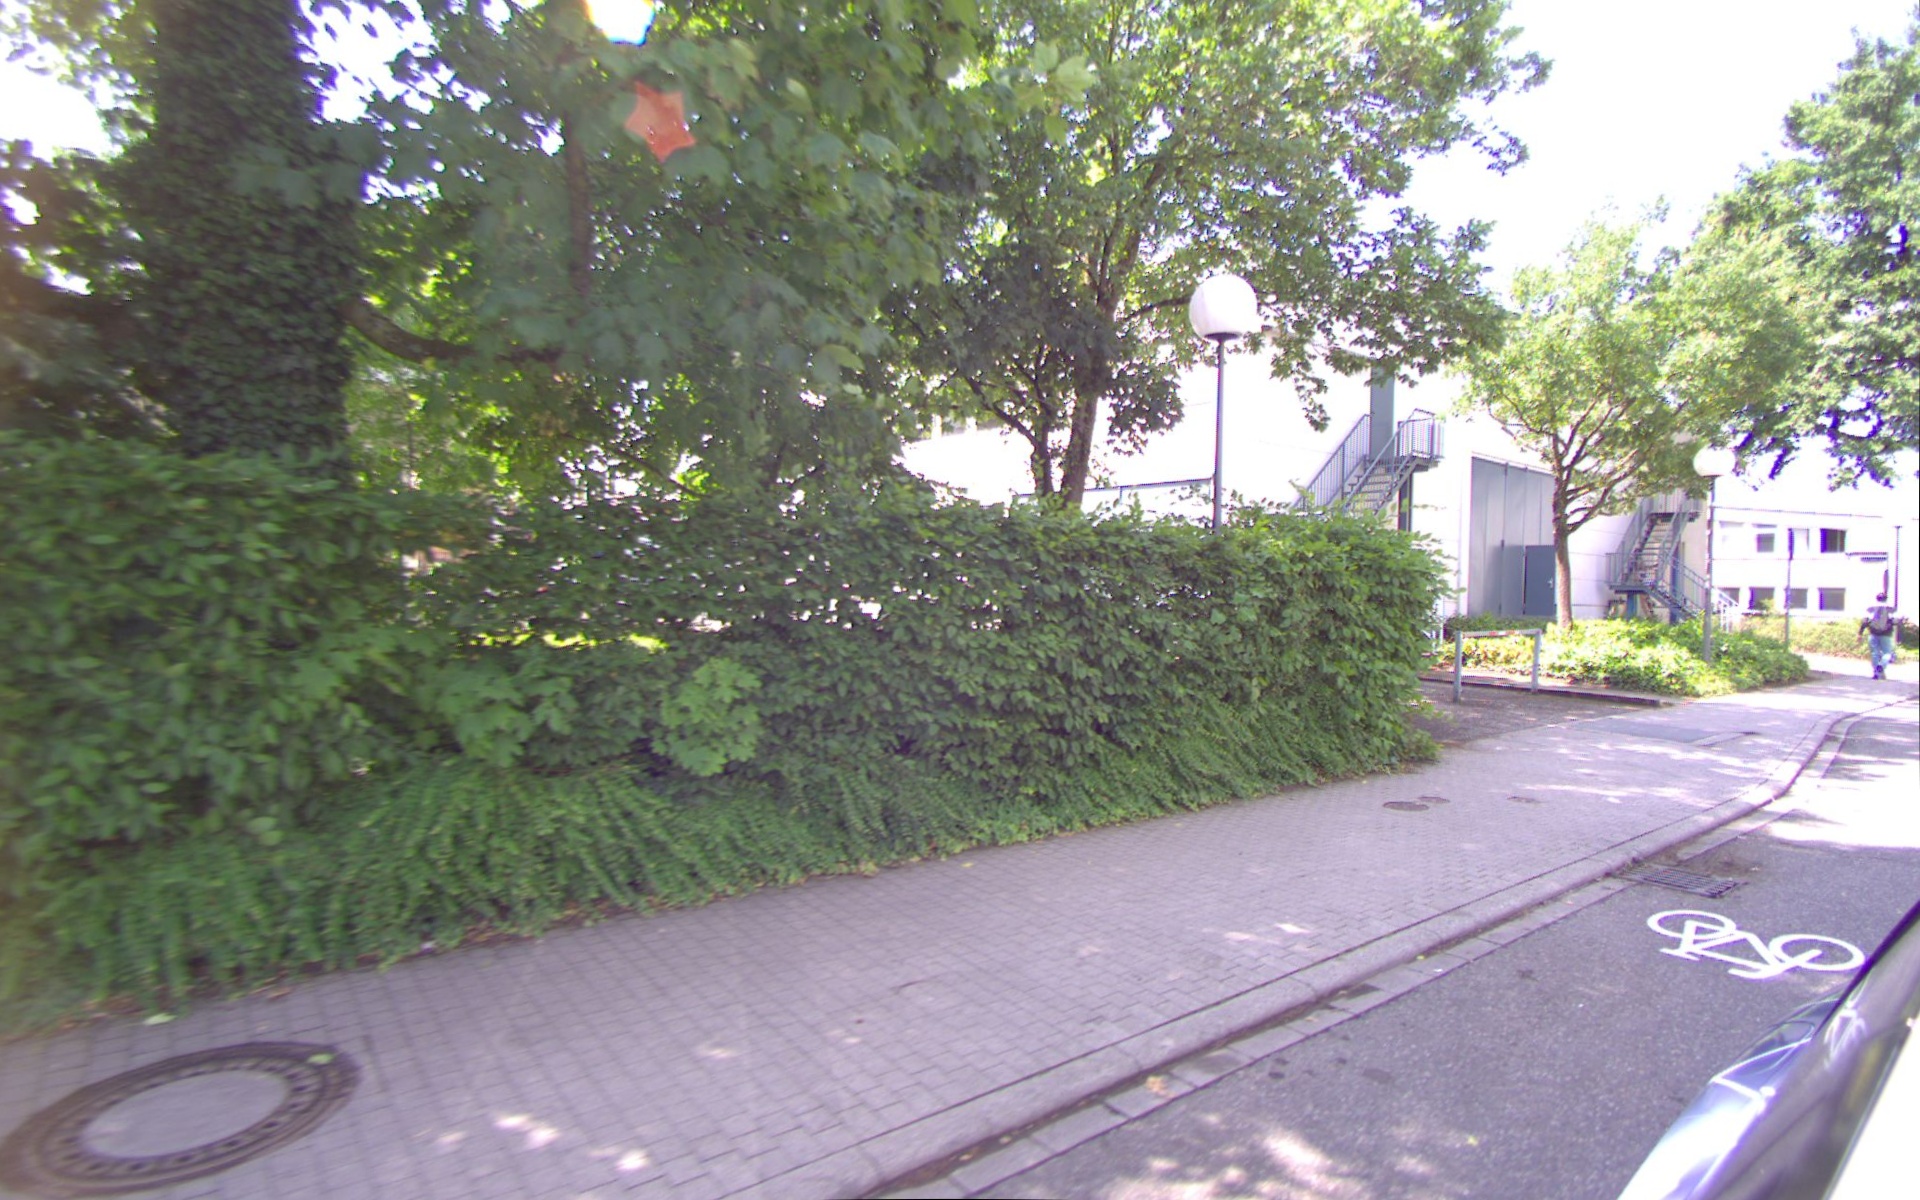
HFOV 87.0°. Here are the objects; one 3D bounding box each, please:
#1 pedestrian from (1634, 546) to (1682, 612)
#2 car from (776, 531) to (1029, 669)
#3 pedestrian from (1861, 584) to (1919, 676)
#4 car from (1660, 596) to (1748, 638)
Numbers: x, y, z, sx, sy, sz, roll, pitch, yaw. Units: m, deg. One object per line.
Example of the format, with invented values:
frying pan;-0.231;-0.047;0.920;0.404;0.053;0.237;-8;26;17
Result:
pedestrian;22.015;-0.650;31.930;0.931;2.039;0.930;1;1;-35
car;-1.171;-0.066;17.584;2.023;2.039;4.839;1;1;-37
pedestrian;17.978;0.558;19.517;1.234;1.695;0.740;1;0;-42
car;28.513;0.631;38.748;4.105;1.495;1.671;1;1;-38
